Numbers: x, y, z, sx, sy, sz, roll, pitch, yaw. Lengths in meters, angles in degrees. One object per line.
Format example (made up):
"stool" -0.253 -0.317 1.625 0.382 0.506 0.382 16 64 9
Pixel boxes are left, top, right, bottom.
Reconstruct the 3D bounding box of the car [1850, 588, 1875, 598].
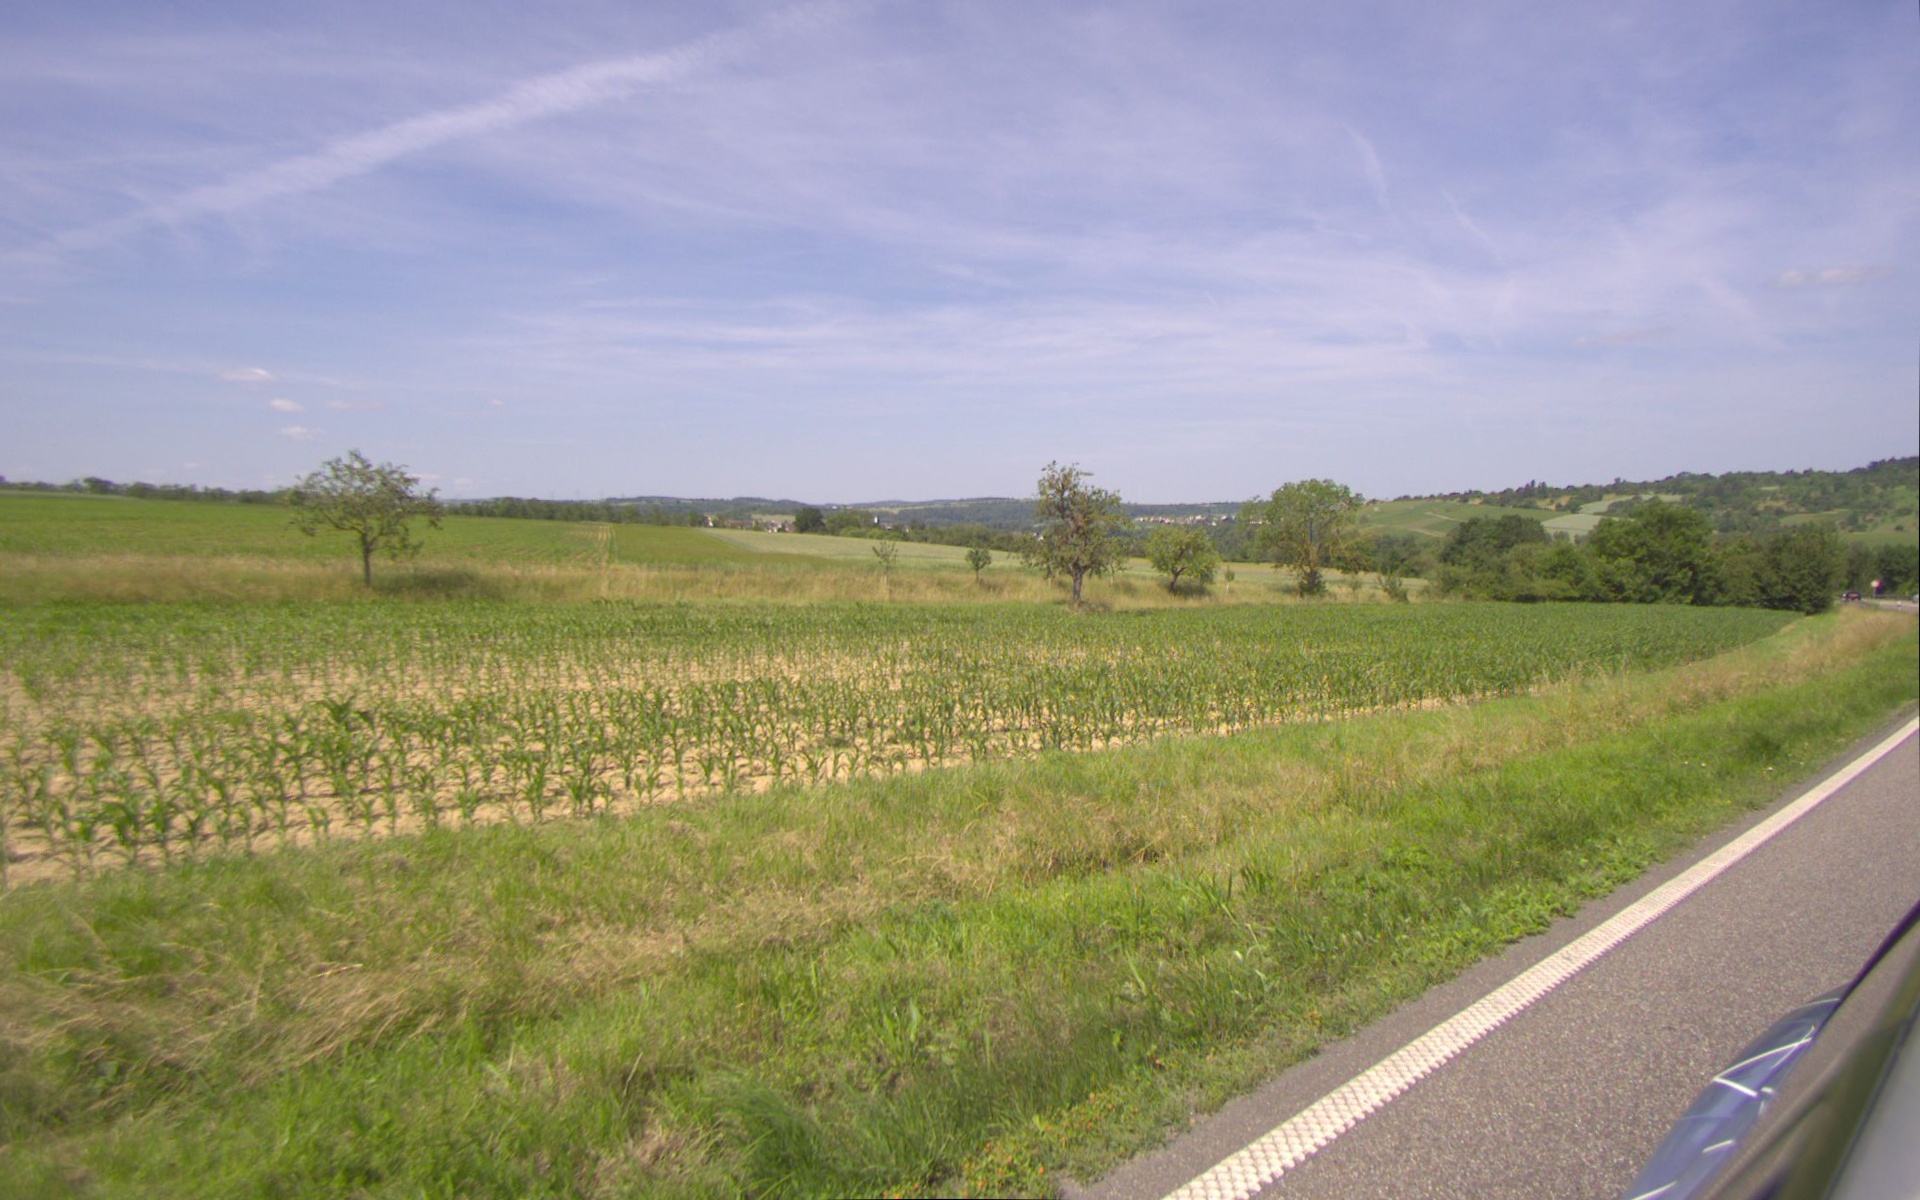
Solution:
"car" 135.577 -1.062 152.053 1.707 1.479 4.176 2 1 27

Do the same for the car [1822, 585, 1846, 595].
"car" 144.435 -1.625 167.339 1.801 1.588 4.642 1 1 26
